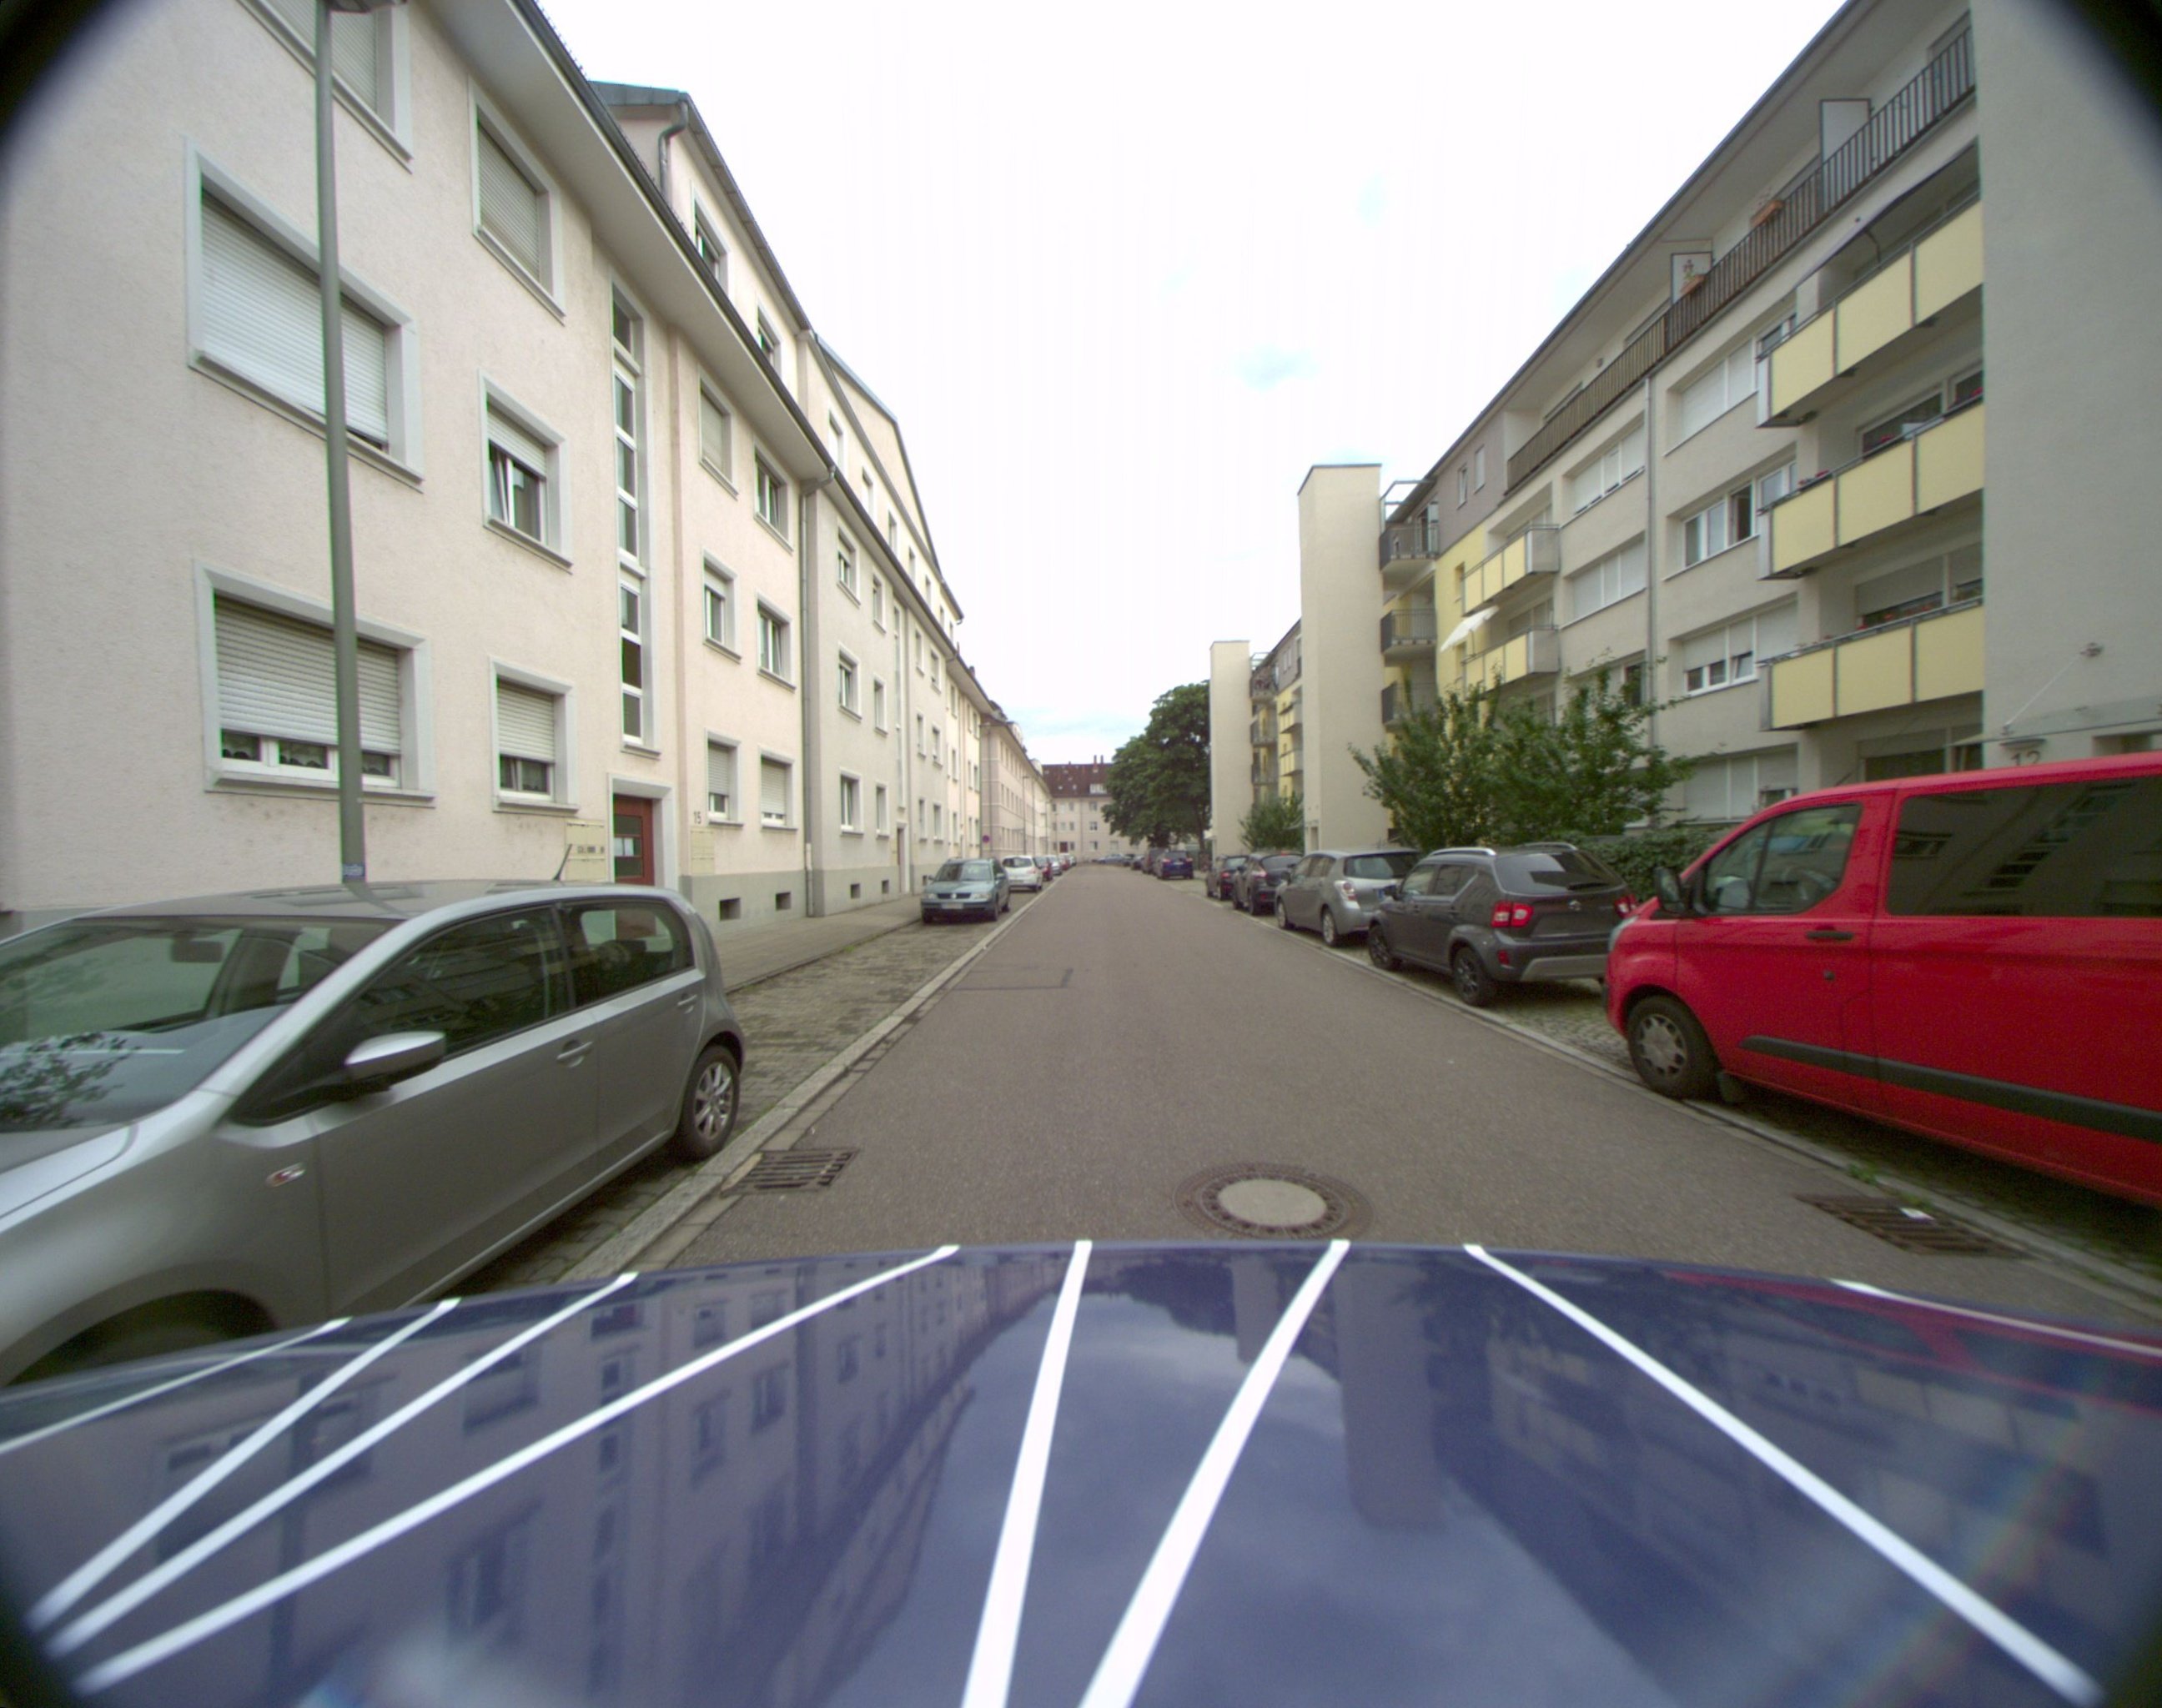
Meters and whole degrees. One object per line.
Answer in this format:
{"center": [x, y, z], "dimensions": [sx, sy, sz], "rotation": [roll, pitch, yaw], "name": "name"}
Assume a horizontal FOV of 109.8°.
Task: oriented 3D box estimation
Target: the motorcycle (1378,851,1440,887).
{"center": [10.586, 0.474, 24.554], "dimensions": [1.753, 1.122, 0.593], "rotation": [0, 1, -3], "name": "motorcycle"}

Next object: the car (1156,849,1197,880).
{"center": [5.396, 0.553, 43.449], "dimensions": [1.804, 1.617, 4.472], "rotation": [-2, 0, 1], "name": "car"}

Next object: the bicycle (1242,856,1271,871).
{"center": [11.736, 0.647, 50.919], "dimensions": [1.855, 1.014, 0.671], "rotation": [-1, 1, 8], "name": "bicycle"}

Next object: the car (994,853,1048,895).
{"center": [-2.400, 0.792, 31.341], "dimensions": [1.788, 1.590, 3.805], "rotation": [-1, 0, 2], "name": "car"}

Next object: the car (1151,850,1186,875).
{"center": [5.655, 0.529, 49.381], "dimensions": [1.625, 1.437, 3.818], "rotation": [-2, 0, -3], "name": "car"}

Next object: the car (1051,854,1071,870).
{"center": [-1.909, 0.706, 72.352], "dimensions": [1.758, 1.477, 3.773], "rotation": [0, 0, 1], "name": "car"}

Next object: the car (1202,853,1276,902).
{"center": [5.177, 0.723, 25.347], "dimensions": [1.647, 1.430, 3.856], "rotation": [-3, 0, 1], "name": "car"}

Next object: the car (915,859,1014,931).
{"center": [-2.721, 0.910, 18.671], "dimensions": [1.729, 1.460, 4.264], "rotation": [-1, 0, 1], "name": "car"}

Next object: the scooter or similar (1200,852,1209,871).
{"center": [8.198, 0.522, 50.487], "dimensions": [0.438, 1.236, 1.135], "rotation": [-1, 1, 1], "name": "scooter or similar"}

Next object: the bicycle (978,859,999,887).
{"center": [-3.982, 0.804, 32.838], "dimensions": [0.607, 1.133, 2.125], "rotation": [-1, 0, 1], "name": "bicycle"}

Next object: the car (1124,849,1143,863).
{"center": [6.287, 0.254, 90.814], "dimensions": [2.000, 1.566, 4.209], "rotation": [-3, 0, 1], "name": "car"}

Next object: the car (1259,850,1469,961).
{"center": [4.810, 0.763, 13.815], "dimensions": [1.839, 1.561, 4.860], "rotation": [-3, 0, -1], "name": "car"}

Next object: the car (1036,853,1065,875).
{"center": [-2.076, 0.647, 53.262], "dimensions": [1.792, 1.455, 4.040], "rotation": [-1, 0, 1], "name": "car"}

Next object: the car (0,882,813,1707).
{"center": [-2.767, 0.970, 3.250], "dimensions": [1.729, 1.483, 4.060], "rotation": [-1, 0, 1], "name": "car"}

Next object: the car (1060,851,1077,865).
{"center": [-1.462, 0.445, 89.039], "dimensions": [1.764, 1.595, 3.956], "rotation": [-1, 0, 1], "name": "car"}

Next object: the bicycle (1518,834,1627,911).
{"center": [8.063, 0.277, 12.558], "dimensions": [0.553, 1.185, 1.727], "rotation": [-1, 1, -6], "name": "bicycle"}

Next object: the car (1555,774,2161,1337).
{"center": [4.749, 0.639, 3.297], "dimensions": [2.157, 1.942, 4.920], "rotation": [-3, 0, -1], "name": "car"}

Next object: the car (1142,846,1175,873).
{"center": [5.647, 0.382, 55.790], "dimensions": [1.891, 1.844, 4.785], "rotation": [-1, 0, 0], "name": "car"}

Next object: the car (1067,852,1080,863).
{"center": [-0.987, 0.482, 99.662], "dimensions": [1.563, 1.334, 3.788], "rotation": [-1, 0, 1], "name": "car"}

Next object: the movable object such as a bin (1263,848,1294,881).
{"center": [8.787, 0.456, 33.811], "dimensions": [1.004, 1.438, 1.314], "rotation": [-2, 1, 1], "name": "movable object such as a bin"}

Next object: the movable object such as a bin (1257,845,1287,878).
{"center": [8.843, 0.343, 35.225], "dimensions": [1.004, 1.492, 1.314], "rotation": [-2, 1, 1], "name": "movable object such as a bin"}

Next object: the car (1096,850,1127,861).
{"center": [4.591, 0.215, 114.123], "dimensions": [4.545, 1.551, 1.565], "rotation": [-1, 1, 5], "name": "car"}

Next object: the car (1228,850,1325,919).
{"center": [4.955, 0.715, 19.741], "dimensions": [1.657, 1.521, 3.895], "rotation": [-3, 0, 3], "name": "car"}

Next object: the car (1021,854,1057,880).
{"center": [-2.348, 0.715, 43.212], "dimensions": [1.758, 1.401, 3.936], "rotation": [-1, 0, 1], "name": "car"}

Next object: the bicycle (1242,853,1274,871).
{"center": [11.296, 0.530, 48.634], "dimensions": [1.857, 1.130, 0.716], "rotation": [-1, 1, -2], "name": "bicycle"}

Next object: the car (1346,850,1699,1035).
{"center": [4.644, 0.784, 8.807], "dimensions": [1.725, 1.561, 4.054], "rotation": [-3, 0, 1], "name": "car"}

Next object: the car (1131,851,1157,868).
{"center": [5.868, 0.489, 70.817], "dimensions": [1.919, 1.431, 4.434], "rotation": [-3, 0, -1], "name": "car"}
